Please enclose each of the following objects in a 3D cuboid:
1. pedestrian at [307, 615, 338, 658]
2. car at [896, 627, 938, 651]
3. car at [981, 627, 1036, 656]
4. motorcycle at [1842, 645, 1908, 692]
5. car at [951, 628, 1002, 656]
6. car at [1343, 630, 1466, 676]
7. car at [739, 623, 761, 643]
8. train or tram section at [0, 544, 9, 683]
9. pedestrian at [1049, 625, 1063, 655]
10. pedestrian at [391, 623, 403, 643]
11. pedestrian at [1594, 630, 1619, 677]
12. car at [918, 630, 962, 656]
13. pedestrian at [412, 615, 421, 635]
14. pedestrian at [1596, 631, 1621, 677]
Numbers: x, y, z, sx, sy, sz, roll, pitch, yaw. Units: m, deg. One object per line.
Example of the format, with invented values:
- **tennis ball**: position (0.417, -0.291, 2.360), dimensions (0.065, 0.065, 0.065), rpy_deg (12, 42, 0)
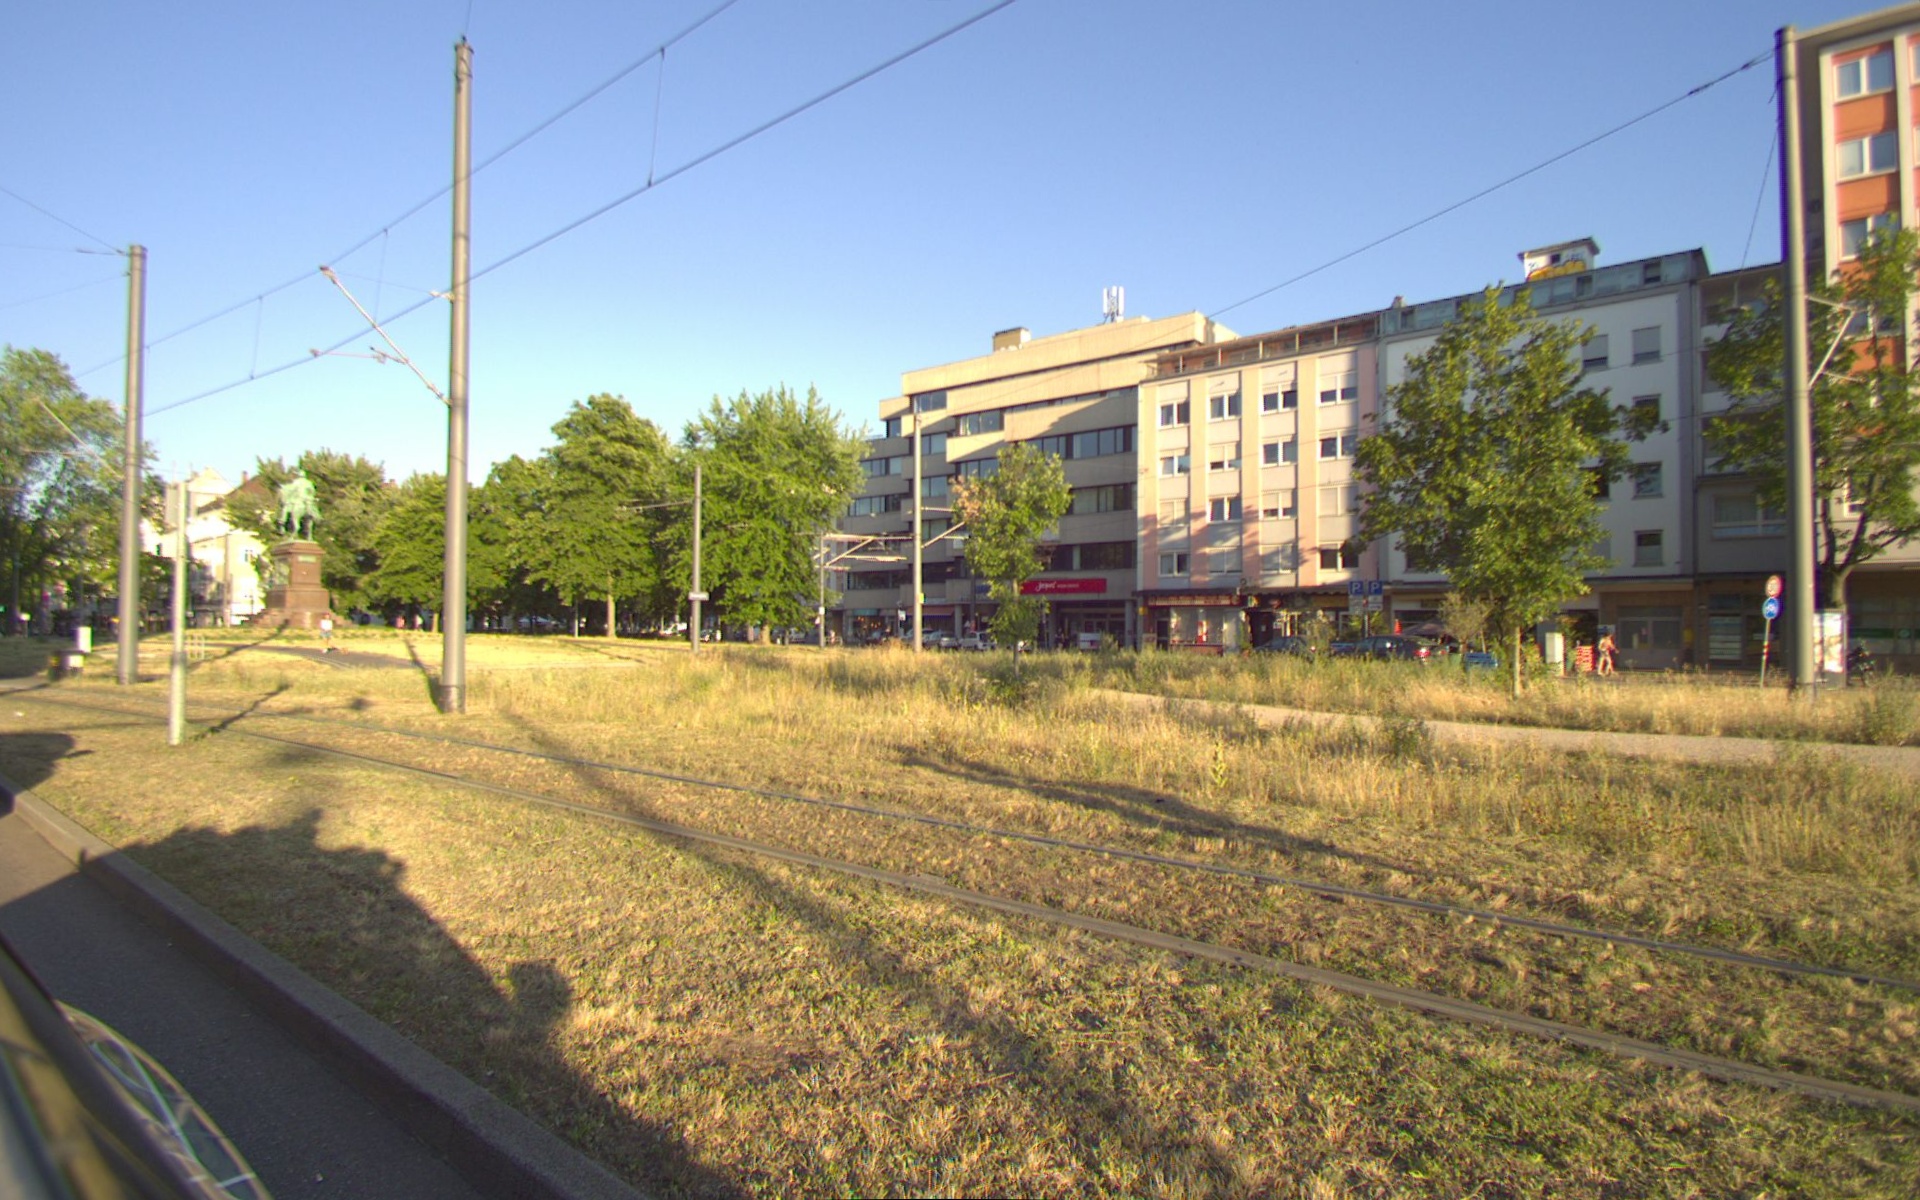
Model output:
- **pedestrian**: position (-26.351, 1.509, 41.807), dimensions (0.797, 1.741, 0.880), rpy_deg (-2, -2, 41)
- **car**: position (-3.503, 3.136, 82.067), dimensions (1.965, 1.951, 4.013), rpy_deg (1, -2, -25)
- **car**: position (3.192, 2.717, 66.920), dimensions (1.892, 1.878, 4.013), rpy_deg (1, -2, -27)
- **motorcycle**: position (26.586, 1.982, 29.416), dimensions (1.390, 1.328, 0.376), rpy_deg (-2, -2, 43)
- **car**: position (1.145, 2.941, 71.432), dimensions (1.965, 1.893, 4.013), rpy_deg (1, -2, -27)
- **car**: position (17.266, 2.016, 39.516), dimensions (1.965, 1.697, 4.012), rpy_deg (1, -2, -28)
- **car**: position (-23.508, 3.670, 113.052), dimensions (1.966, 2.029, 4.012), rpy_deg (-1, 0, -18)
- **train or tram section**: position (-32.592, 0.413, 28.889), dimensions (13.132, 3.767, 2.896), rpy_deg (-1, -2, 23)
- **pedestrian**: position (6.296, 2.588, 66.355), dimensions (0.700, 1.949, 0.683), rpy_deg (-2, -2, 41)
- **pedestrian**: position (-47.733, 2.759, 85.832), dimensions (0.635, 1.682, 0.702), rpy_deg (-1, -2, 41)
- **pedestrian**: position (25.053, 2.050, 39.230), dimensions (0.704, 1.806, 0.587), rpy_deg (-2, -2, 41)
- **car**: position (-1.529, 3.235, 77.053), dimensions (1.965, 1.893, 4.013), rpy_deg (1, -2, -23)
- **pedestrian**: position (-46.411, 2.171, 86.432), dimensions (0.512, 1.707, 0.528), rpy_deg (-1, -2, 41)
- **pedestrian**: position (25.456, 2.098, 39.721), dimensions (0.698, 1.764, 0.642), rpy_deg (-2, -2, 41)
